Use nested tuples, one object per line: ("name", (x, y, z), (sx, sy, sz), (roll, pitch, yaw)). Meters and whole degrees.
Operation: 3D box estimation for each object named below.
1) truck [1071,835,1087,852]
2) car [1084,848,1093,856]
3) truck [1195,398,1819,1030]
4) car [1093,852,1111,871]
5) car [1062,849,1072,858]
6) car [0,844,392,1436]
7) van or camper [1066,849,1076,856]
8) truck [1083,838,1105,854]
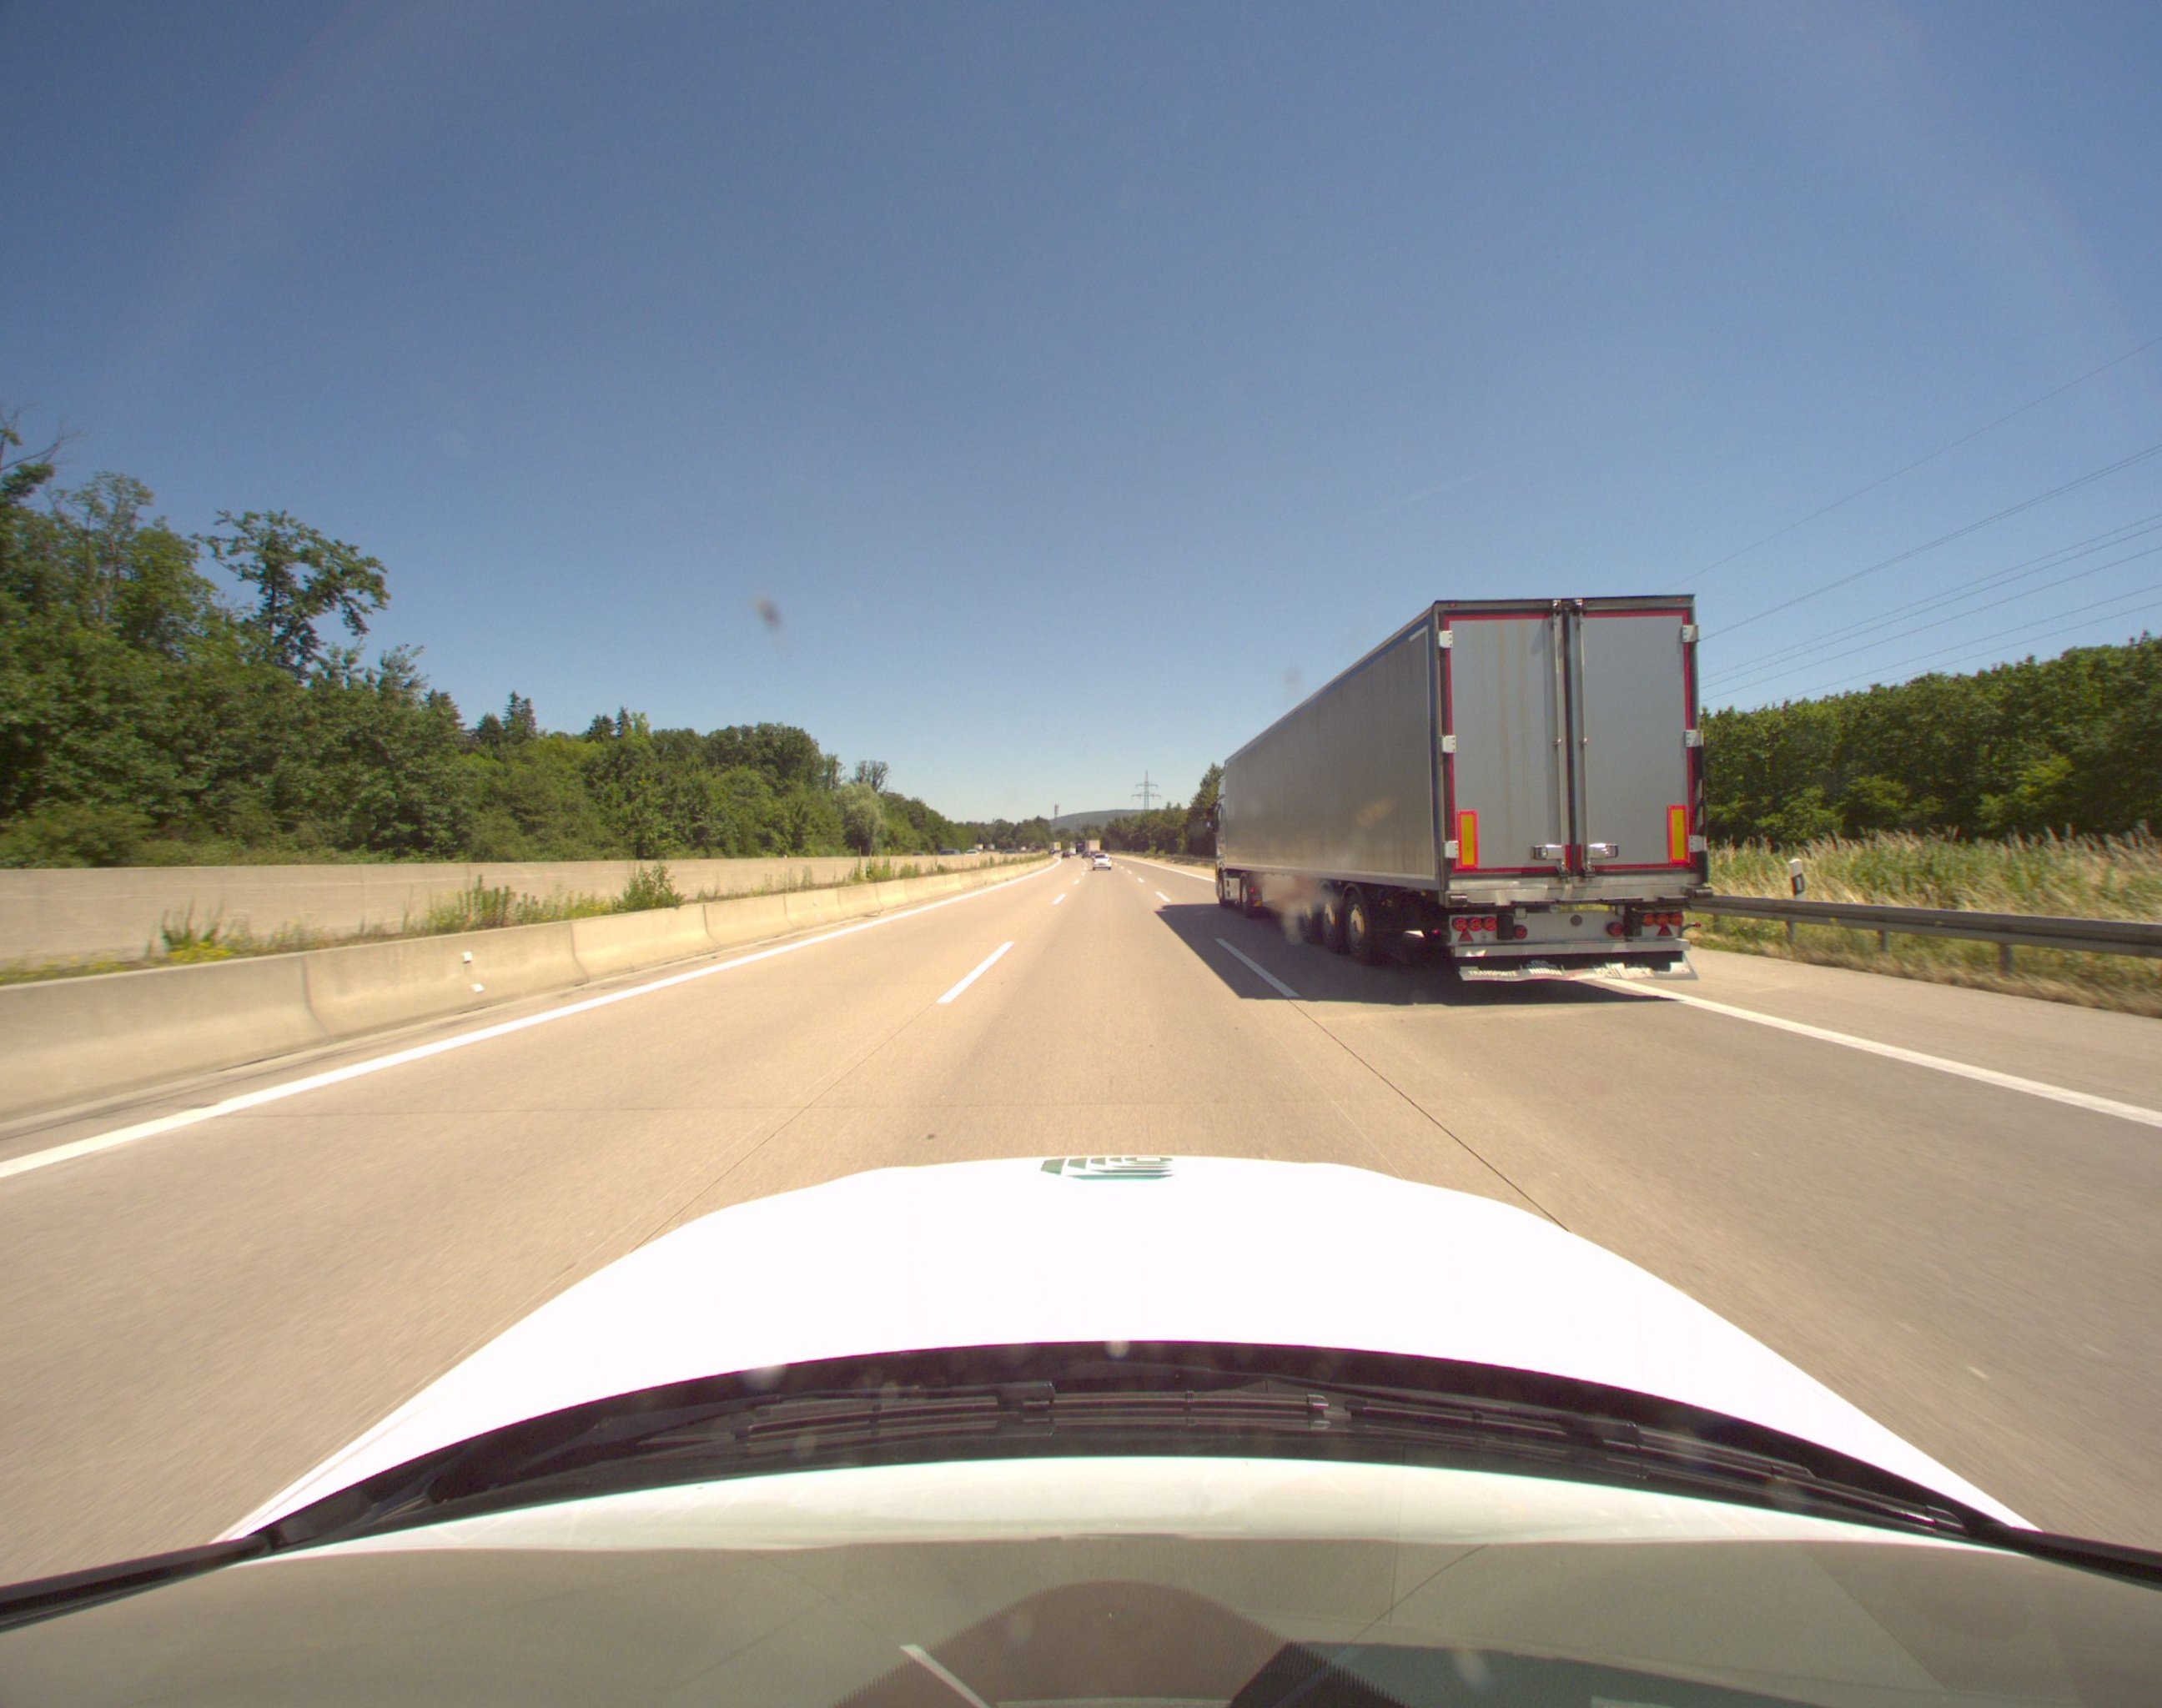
("truck", (-0.649, -3.236, 254.815), (3.901, 4.741, 14.026), (-2, 0, -5))
("car", (1.554, -0.399, 168.428), (1.605, 1.725, 3.571), (-2, 0, -1))
("truck", (5.228, -1.403, 16.680), (3.564, 5.787, 18.253), (1, 1, 1))
("car", (1.937, 0.645, 75.191), (1.635, 1.662, 3.361), (2, 1, 1))
("car", (-3.029, -0.134, 180.613), (2.016, 1.700, 3.999), (3, 0, -1))
("car", (-3.736, 0.744, 0.381), (1.883, 1.473, 5.607), (1, 1, 2))
("van or camper", (-2.856, -0.422, 228.763), (1.868, 1.837, 3.985), (-3, 0, -11))
("truck", (3.244, -1.972, 209.052), (3.814, 3.889, 14.127), (-3, 0, -5))
